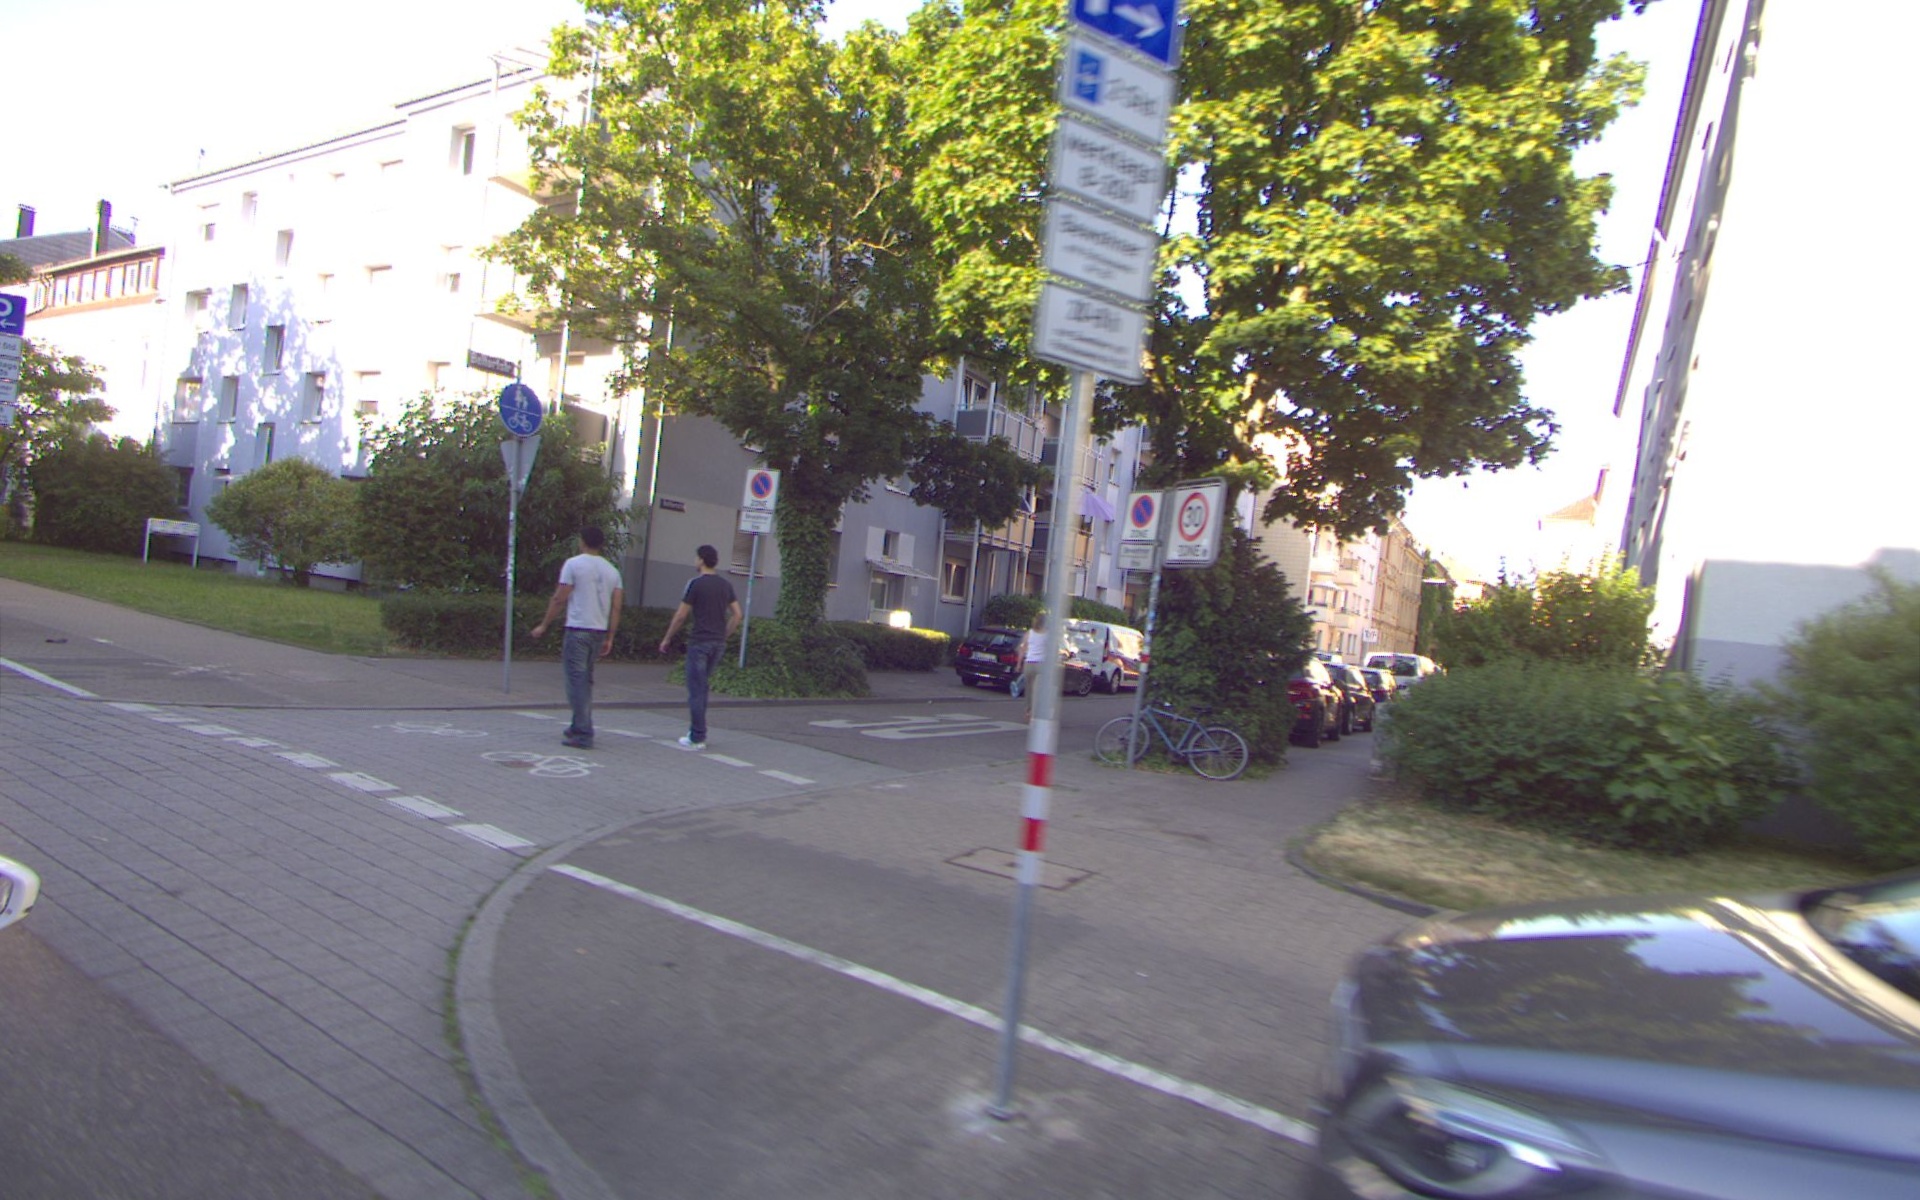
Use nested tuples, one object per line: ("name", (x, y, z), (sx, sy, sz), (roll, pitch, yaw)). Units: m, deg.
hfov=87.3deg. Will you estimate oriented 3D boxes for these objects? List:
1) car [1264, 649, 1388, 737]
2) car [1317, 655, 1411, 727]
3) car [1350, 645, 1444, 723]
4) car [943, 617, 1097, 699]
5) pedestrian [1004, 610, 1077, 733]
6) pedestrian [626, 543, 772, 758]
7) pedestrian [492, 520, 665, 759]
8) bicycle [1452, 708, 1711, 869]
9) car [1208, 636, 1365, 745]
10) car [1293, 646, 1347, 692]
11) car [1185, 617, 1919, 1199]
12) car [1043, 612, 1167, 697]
("car", (8.321, 2.114, 22.647), (1.730, 1.574, 4.248), (7, -2, 31))
("car", (10.679, 2.427, 26.459), (1.606, 1.574, 3.648), (7, -2, 31))
("car", (13.619, 2.662, 31.203), (1.933, 2.035, 4.246), (7, -2, 32))
("car", (1.493, 1.383, 23.141), (1.701, 1.478, 4.168), (7, -2, 31))
("pedestrian", (1.217, 1.076, 15.303), (0.787, 1.743, 0.742), (6, 1, -10))
("pedestrian", (-2.471, 0.460, 9.520), (0.938, 1.884, 0.797), (7, 1, 42))
("pedestrian", (-3.293, 0.321, 8.691), (1.050, 1.884, 0.749), (6, 1, 31))
("bicycle", (4.963, 1.475, 8.138), (1.652, 0.956, 0.475), (6, 1, 31))
("car", (6.105, 1.686, 18.478), (1.730, 1.574, 4.248), (7, -2, 31))
("car", (19.077, 3.686, 53.236), (1.730, 2.000, 4.248), (7, -2, 31))
("car", (2.662, 1.052, 1.555), (4.179, 1.577, 1.756), (6, 1, 29))
("car", (4.081, 1.566, 27.736), (1.730, 1.900, 4.248), (7, -2, 31))
